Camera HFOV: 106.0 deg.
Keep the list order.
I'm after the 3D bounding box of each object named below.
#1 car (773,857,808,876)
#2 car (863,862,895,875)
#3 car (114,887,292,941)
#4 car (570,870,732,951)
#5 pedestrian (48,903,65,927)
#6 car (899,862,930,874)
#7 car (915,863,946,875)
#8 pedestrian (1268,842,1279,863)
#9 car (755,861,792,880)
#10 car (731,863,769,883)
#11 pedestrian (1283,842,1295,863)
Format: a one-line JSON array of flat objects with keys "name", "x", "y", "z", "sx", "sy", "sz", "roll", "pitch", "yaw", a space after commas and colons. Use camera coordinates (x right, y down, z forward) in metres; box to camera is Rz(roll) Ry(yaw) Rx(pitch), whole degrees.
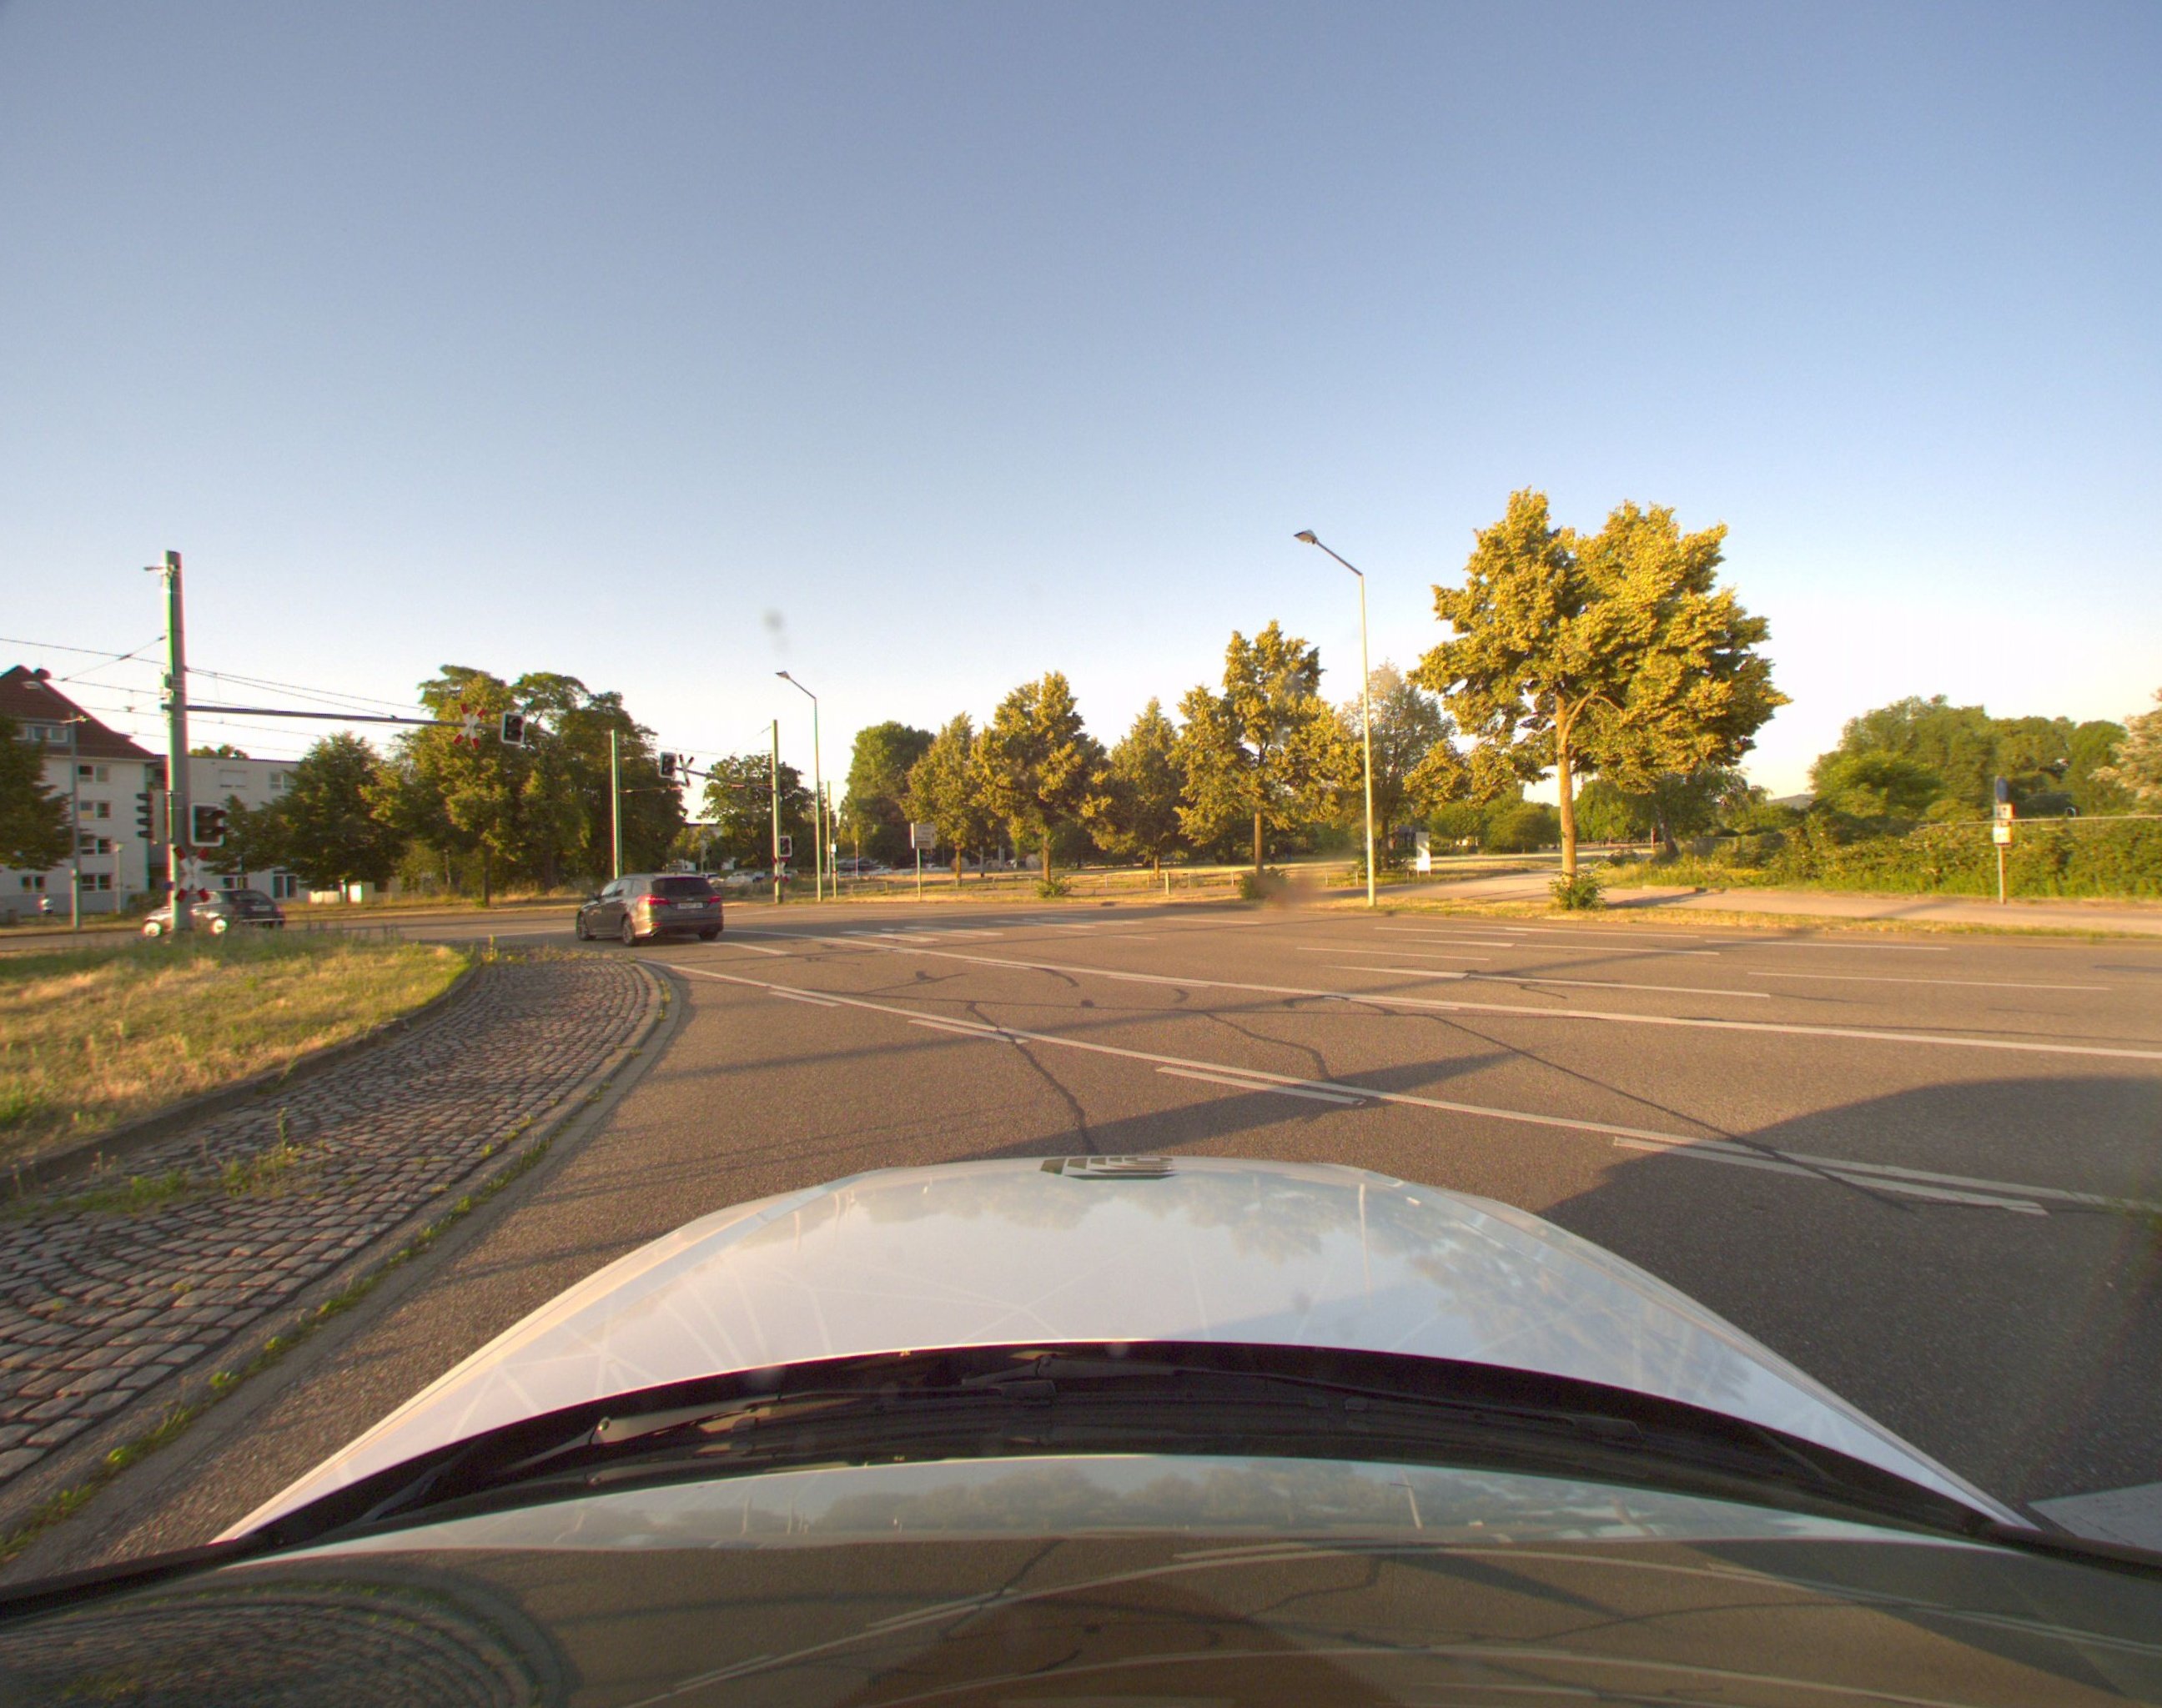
[{"name": "car", "x": -34.927, "y": 1.504, "z": 97.888, "sx": 3.948, "sy": 2.098, "sz": 2.013, "roll": -2, "pitch": 0, "yaw": 33}, {"name": "car", "x": -26.972, "y": 1.913, "z": 108.747, "sx": 3.948, "sy": 1.551, "sz": 2.013, "roll": -2, "pitch": 0, "yaw": 32}, {"name": "car", "x": -28.019, "y": 1.890, "z": 26.052, "sx": 4.098, "sy": 1.446, "sz": 1.755, "roll": -2, "pitch": 0, "yaw": 7}, {"name": "car", "x": -9.426, "y": 1.158, "z": 17.716, "sx": 4.082, "sy": 1.466, "sz": 1.762, "roll": -2, "pitch": 0, "yaw": 42}, {"name": "pedestrian", "x": -61.521, "y": 3.642, "z": 48.892, "sx": 0.353, "sy": 1.374, "sz": 0.551, "roll": -2, "pitch": 0, "yaw": 29}, {"name": "car", "x": -23.425, "y": 1.975, "z": 114.827, "sx": 3.948, "sy": 1.551, "sz": 2.013, "roll": -2, "pitch": 0, "yaw": 32}, {"name": "car", "x": -21.599, "y": 2.176, "z": 116.865, "sx": 3.948, "sy": 1.551, "sz": 2.013, "roll": -2, "pitch": 0, "yaw": 32}, {"name": "pedestrian", "x": 14.851, "y": -0.104, "z": 62.816, "sx": 0.582, "sy": 1.626, "sz": 0.528, "roll": -2, "pitch": 0, "yaw": -27}, {"name": "car", "x": -36.013, "y": 1.904, "z": 95.408, "sx": 3.948, "sy": 2.098, "sz": 2.013, "roll": -2, "pitch": 0, "yaw": 33}, {"name": "car", "x": -37.822, "y": 2.163, "z": 92.962, "sx": 3.948, "sy": 2.098, "sz": 2.013, "roll": -2, "pitch": 0, "yaw": 33}, {"name": "pedestrian", "x": 15.952, "y": -0.122, "z": 62.432, "sx": 0.622, "sy": 1.626, "sz": 0.525, "roll": -2, "pitch": 0, "yaw": -29}]
